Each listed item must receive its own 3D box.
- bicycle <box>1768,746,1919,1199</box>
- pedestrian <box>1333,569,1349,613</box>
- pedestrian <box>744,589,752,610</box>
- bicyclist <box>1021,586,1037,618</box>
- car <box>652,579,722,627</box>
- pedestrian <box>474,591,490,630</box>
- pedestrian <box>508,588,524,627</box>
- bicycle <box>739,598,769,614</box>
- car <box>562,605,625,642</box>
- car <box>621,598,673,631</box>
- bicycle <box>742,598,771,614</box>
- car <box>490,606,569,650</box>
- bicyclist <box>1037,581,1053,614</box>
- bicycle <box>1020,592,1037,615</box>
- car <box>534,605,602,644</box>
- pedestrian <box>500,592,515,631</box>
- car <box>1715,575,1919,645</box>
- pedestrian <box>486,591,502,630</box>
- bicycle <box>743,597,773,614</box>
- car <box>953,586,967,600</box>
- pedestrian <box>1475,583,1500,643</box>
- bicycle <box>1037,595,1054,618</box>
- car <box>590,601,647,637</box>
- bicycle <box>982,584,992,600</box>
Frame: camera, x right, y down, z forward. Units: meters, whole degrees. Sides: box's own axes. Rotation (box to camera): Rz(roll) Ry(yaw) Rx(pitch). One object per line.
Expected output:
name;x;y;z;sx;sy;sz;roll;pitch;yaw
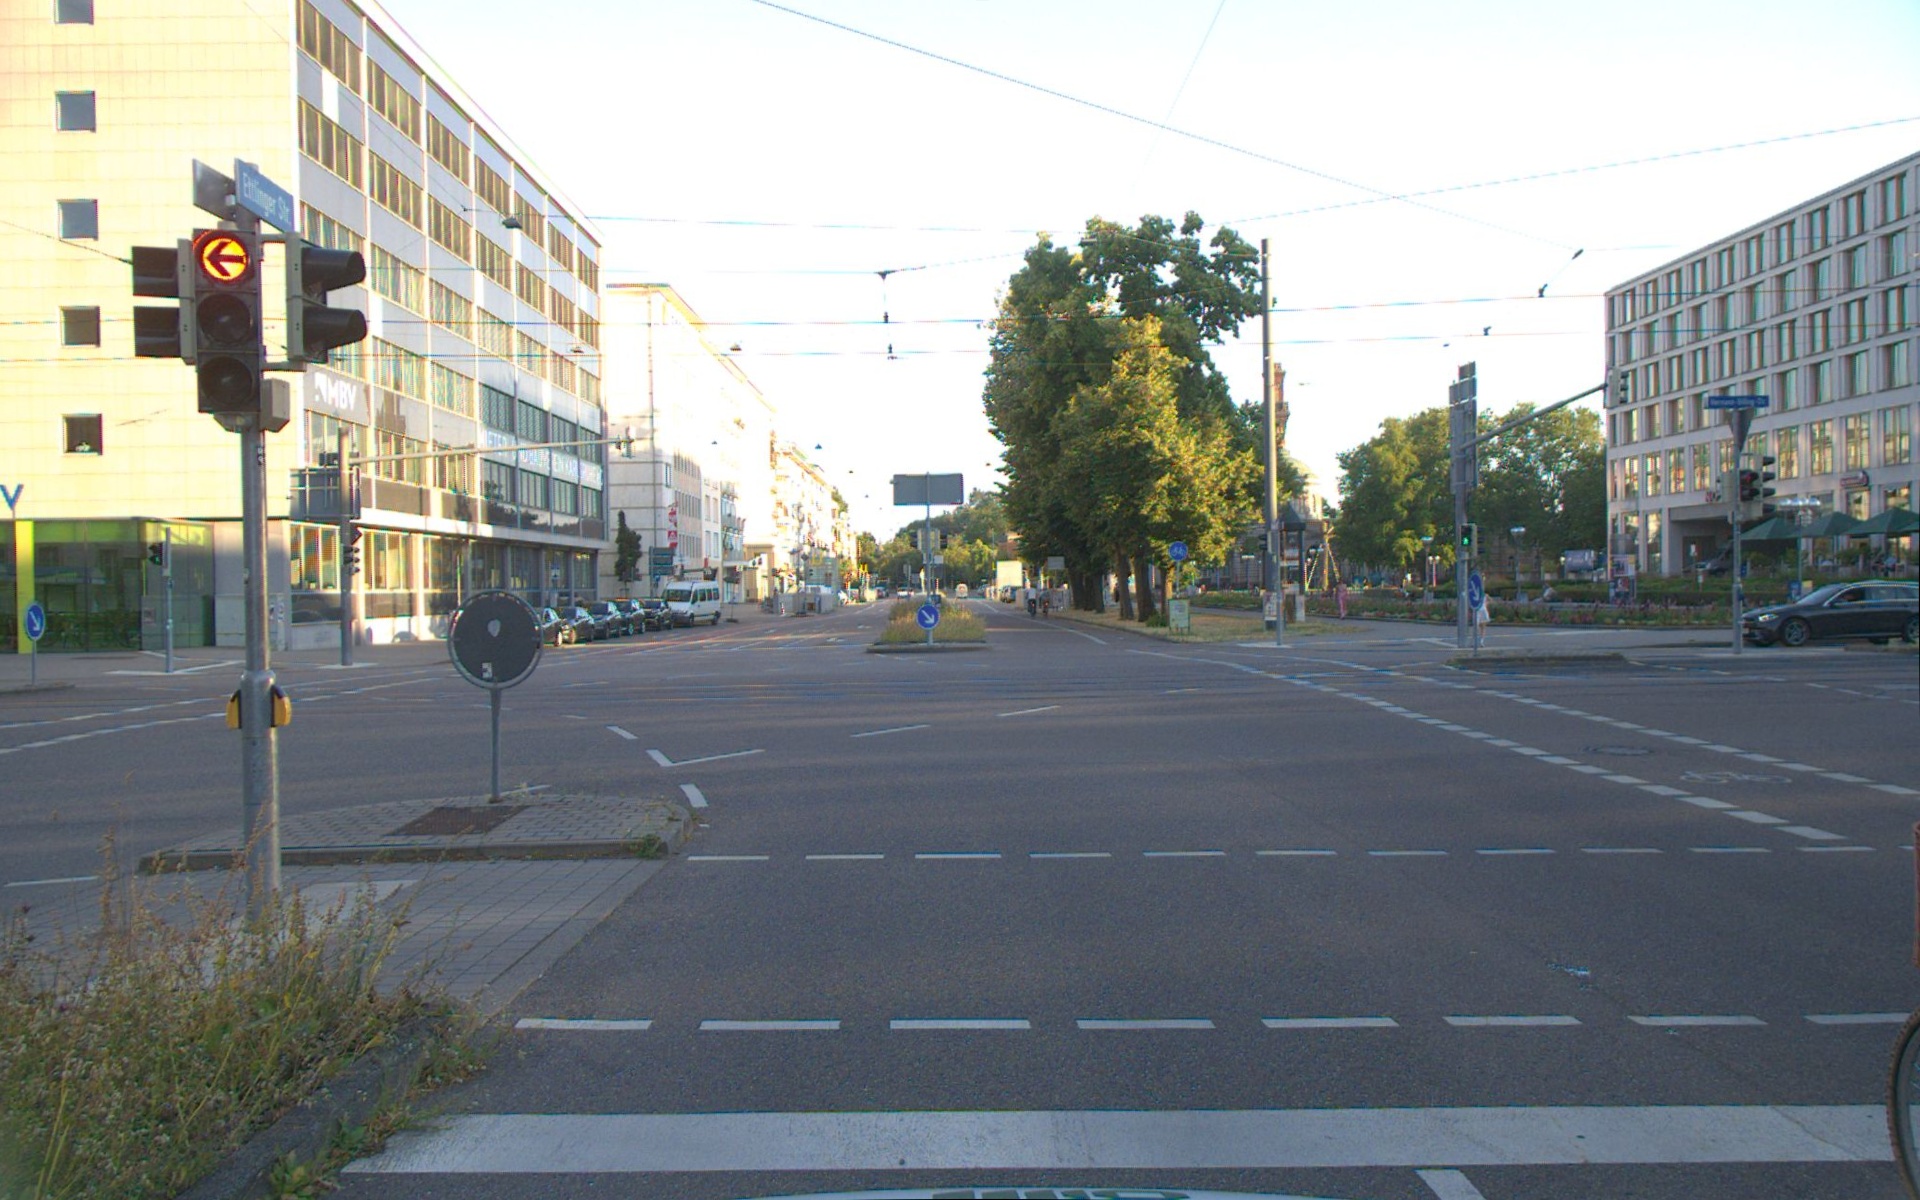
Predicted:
bicycle;2.182;0.920;2.823;0.599;1.152;2.004;1;0;-1
pedestrian;14.732;-0.338;64.028;0.451;1.685;0.566;-1;0;-1
pedestrian;-21.071;-0.087;164.460;0.666;2.049;0.545;-1;0;-1
bicyclist;3.636;0.094;87.421;0.731;1.692;0.873;-1;0;-1
car;-14.943;0.141;91.003;1.958;2.521;5.873;-1;0;9
pedestrian;-21.069;0.449;72.890;0.540;1.708;0.500;-1;0;-1
pedestrian;-19.580;0.346;72.987;0.540;1.708;0.500;-1;0;-1
bicycle;-15.587;0.463;125.195;2.161;1.131;0.618;-1;0;-3
car;-16.138;1.009;72.992;1.882;1.489;3.999;-1;0;-1
car;-15.961;0.730;84.527;1.882;1.595;3.999;-1;0;-1
bicycle;-15.578;0.456;126.701;2.161;1.131;0.689;-1;0;-2
car;-16.009;1.029;61.683;1.882;1.489;4.102;-1;0;-1
bicyclist;4.504;-0.116;87.661;0.731;1.720;0.799;-1;0;-1
bicycle;3.630;0.164;87.677;0.731;1.164;2.505;-1;0;-1
car;-16.118;0.989;68.178;1.882;1.489;3.999;-1;0;-1
pedestrian;-20.170;0.505;73.684;0.490;1.708;0.500;-1;0;-1
car;21.069;0.216;39.936;4.724;1.542;2.000;-1;0;1
pedestrian;-20.751;0.458;73.607;0.540;1.708;0.500;-1;0;-1
bicycle;-15.712;0.399;128.639;2.161;1.258;0.839;-1;0;-2
car;-0.014;-0.824;194.297;1.379;1.670;3.998;-1;0;-2
pedestrian;13.859;0.335;43.446;0.480;1.566;0.408;-1;0;-1
bicycle;4.515;0.329;87.792;0.731;1.164;2.505;-1;0;-1
car;-16.134;0.878;78.296;1.882;1.595;3.999;-1;0;-1
bicycle;3.423;-1.021;208.195;0.981;2.049;4.002;-1;0;3
